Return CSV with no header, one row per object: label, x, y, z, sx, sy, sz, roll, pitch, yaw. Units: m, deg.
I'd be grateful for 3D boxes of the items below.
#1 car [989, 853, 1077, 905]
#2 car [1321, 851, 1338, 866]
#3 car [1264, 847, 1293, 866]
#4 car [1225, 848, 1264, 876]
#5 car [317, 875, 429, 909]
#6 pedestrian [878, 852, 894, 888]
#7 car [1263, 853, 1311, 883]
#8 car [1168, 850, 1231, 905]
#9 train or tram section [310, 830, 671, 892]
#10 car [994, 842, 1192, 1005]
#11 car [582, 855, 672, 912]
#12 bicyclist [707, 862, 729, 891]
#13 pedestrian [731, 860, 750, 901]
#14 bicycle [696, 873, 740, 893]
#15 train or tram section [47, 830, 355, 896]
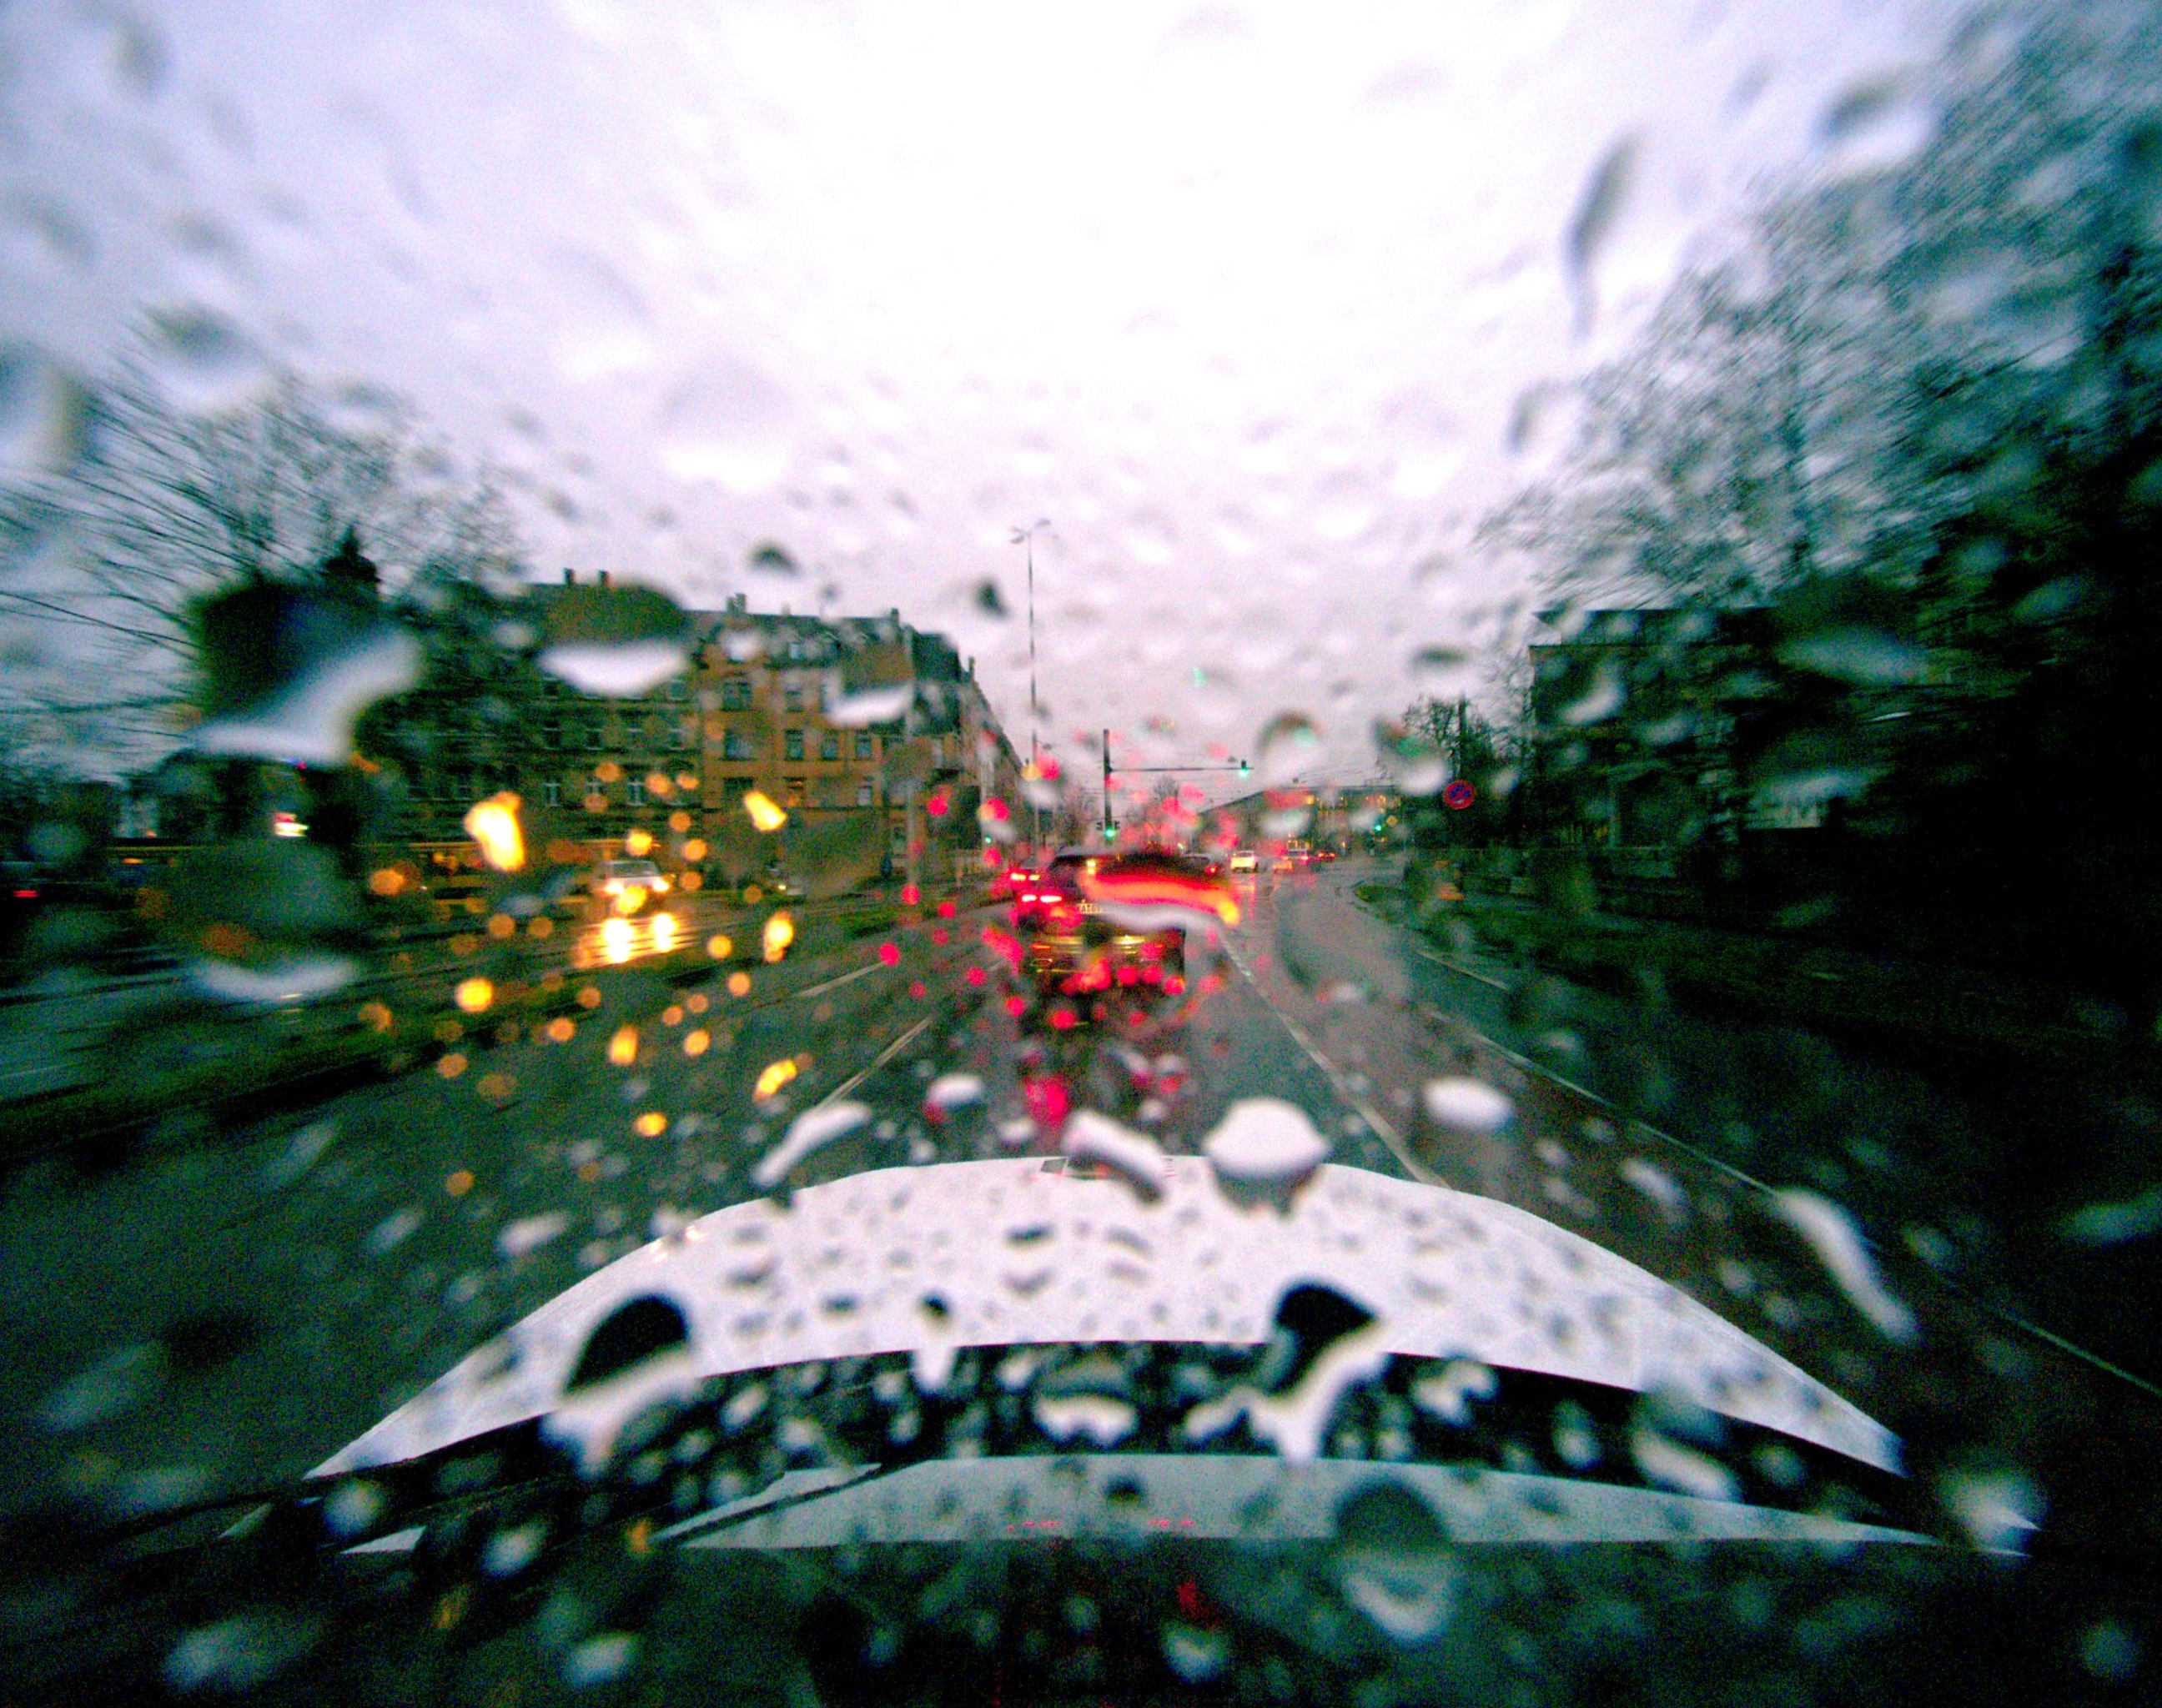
car,-1.378,0.723,25.163,1.983,1.398,4.008,-2,0,7
car,27.559,0.488,90.420,1.732,1.611,4.017,-2,0,16
car,16.226,0.196,66.833,1.846,1.409,3.964,-2,0,20
car,11.346,0.547,56.186,1.977,1.765,4.021,-2,0,20
car,-33.649,1.798,38.772,3.826,1.450,1.649,-1,0,-1
pedestrian,-9.582,0.772,40.042,0.463,1.772,0.632,-1,-1,20
car,13.150,0.868,51.825,1.975,1.765,4.024,-2,0,28
car,4.315,0.791,29.254,1.981,1.765,4.013,-2,0,11
train or tram section,-31.850,0.331,44.874,16.258,3.188,3.158,0,0,-11
car,0.130,0.704,10.360,1.984,1.616,3.999,-2,0,0
car,-17.714,1.152,31.663,2.011,1.946,4.796,-3,0,-41
bicyclist,-18.217,1.114,40.861,0.972,1.390,0.502,-1,0,-29
pedestrian,-14.835,1.147,35.489,0.627,1.792,0.530,-1,0,-14
bicycle,-18.217,1.449,40.859,1.990,0.900,0.502,-1,0,-29
train or tram section,-45.263,0.405,42.339,11.116,3.237,3.158,0,0,-11
